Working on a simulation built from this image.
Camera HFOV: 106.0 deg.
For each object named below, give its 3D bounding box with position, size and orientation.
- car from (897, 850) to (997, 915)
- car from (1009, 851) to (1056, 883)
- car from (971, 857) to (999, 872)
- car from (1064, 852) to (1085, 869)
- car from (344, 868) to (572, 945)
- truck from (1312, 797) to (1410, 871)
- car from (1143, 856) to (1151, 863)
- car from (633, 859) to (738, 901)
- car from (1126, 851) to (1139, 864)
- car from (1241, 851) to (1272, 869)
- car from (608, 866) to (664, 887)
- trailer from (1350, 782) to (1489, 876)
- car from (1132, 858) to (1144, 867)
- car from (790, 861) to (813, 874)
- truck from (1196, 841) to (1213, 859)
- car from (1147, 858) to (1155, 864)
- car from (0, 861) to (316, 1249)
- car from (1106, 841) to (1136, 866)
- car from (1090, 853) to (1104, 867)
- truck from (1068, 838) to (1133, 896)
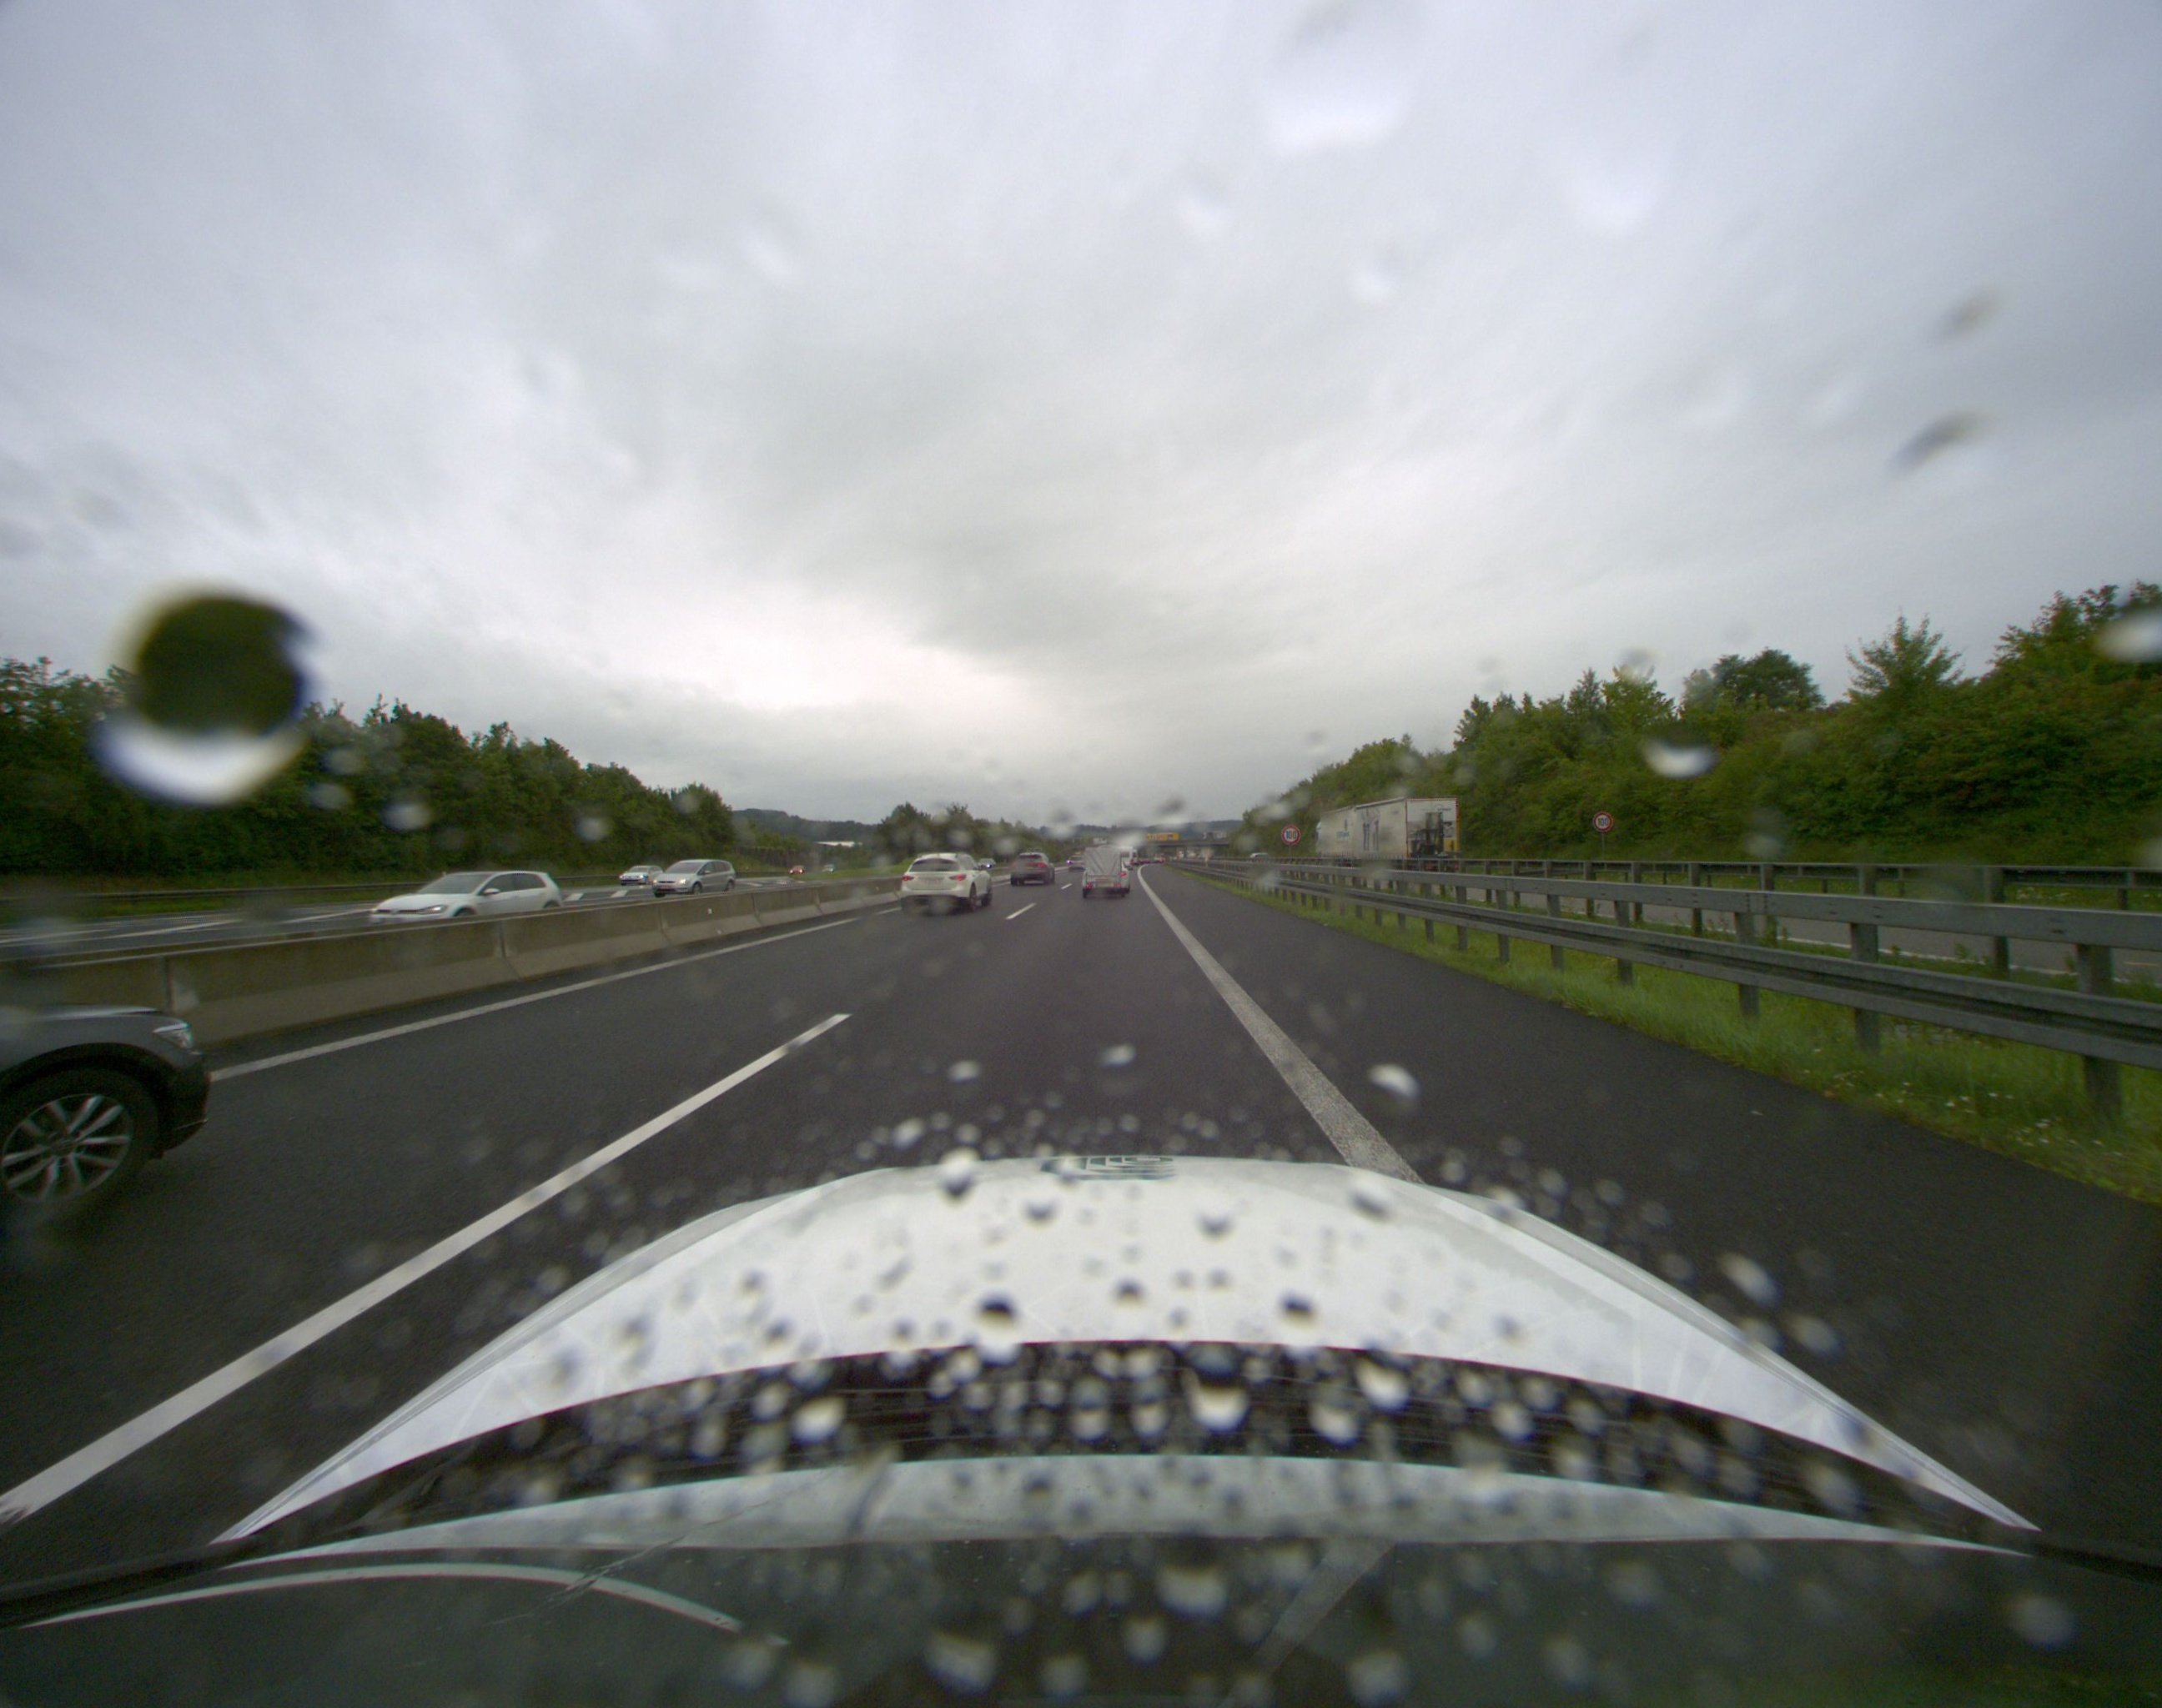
[{"bbox_3d":[-3.715,0.750,23.374,1.969,1.639,4.502,-1,0,1],"label":"car"},{"bbox_3d":[-2.536,0.679,44.065,2.167,1.631,4.501,-1,0,1],"label":"car"},{"bbox_3d":[-11.679,1.291,99.387,2.169,1.696,5.258,-1,0,6],"label":"car"},{"bbox_3d":[-0.673,0.644,84.410,1.893,1.613,4.019,-1,0,2],"label":"car"},{"bbox_3d":[-14.405,1.135,19.205,1.973,1.506,4.145,-1,0,4],"label":"car"},{"bbox_3d":[18.006,-1.182,53.277,3.422,4.289,10.429,-1,0,4],"label":"truck"},{"bbox_3d":[16.672,1.406,206.973,1.984,1.750,4.005,0,0,5],"label":"car"},{"bbox_3d":[-17.404,1.101,36.117,2.170,1.635,4.542,-1,0,4],"label":"car"},{"bbox_3d":[8.367,0.622,132.258,1.986,2.036,4.152,0,0,1],"label":"car"},{"bbox_3d":[14.711,0.506,68.338,1.852,1.447,4.160,-1,0,3],"label":"car"},{"bbox_3d":[-33.598,1.684,61.673,2.178,1.430,4.378,-1,0,-7],"label":"car"},{"bbox_3d":[17.358,-1.151,42.846,3.422,4.289,10.463,-1,0,3],"label":"trailer"},{"bbox_3d":[10.520,1.584,151.521,1.986,1.750,4.000,0,0,1],"label":"car"},{"bbox_3d":[-40.115,1.924,116.924,2.178,1.696,4.617,-1,0,-7],"label":"car"},{"bbox_3d":[35.758,-1.131,236.043,4.075,5.103,10.477,-1,0,5],"label":"truck"},{"bbox_3d":[20.292,1.946,236.191,1.983,1.750,4.006,0,0,6],"label":"car"},{"bbox_3d":[-5.201,0.809,2.026,1.893,1.497,4.853,-1,0,2],"label":"car"},{"bbox_3d":[4.569,-0.074,92.263,3.002,2.616,6.084,-1,0,5],"label":"car"},{"bbox_3d":[2.185,0.798,113.315,1.834,1.819,4.002,-1,0,2],"label":"car"},{"bbox_3d":[0.908,0.439,32.178,2.009,1.985,7.223,-1,0,5],"label":"truck"}]
